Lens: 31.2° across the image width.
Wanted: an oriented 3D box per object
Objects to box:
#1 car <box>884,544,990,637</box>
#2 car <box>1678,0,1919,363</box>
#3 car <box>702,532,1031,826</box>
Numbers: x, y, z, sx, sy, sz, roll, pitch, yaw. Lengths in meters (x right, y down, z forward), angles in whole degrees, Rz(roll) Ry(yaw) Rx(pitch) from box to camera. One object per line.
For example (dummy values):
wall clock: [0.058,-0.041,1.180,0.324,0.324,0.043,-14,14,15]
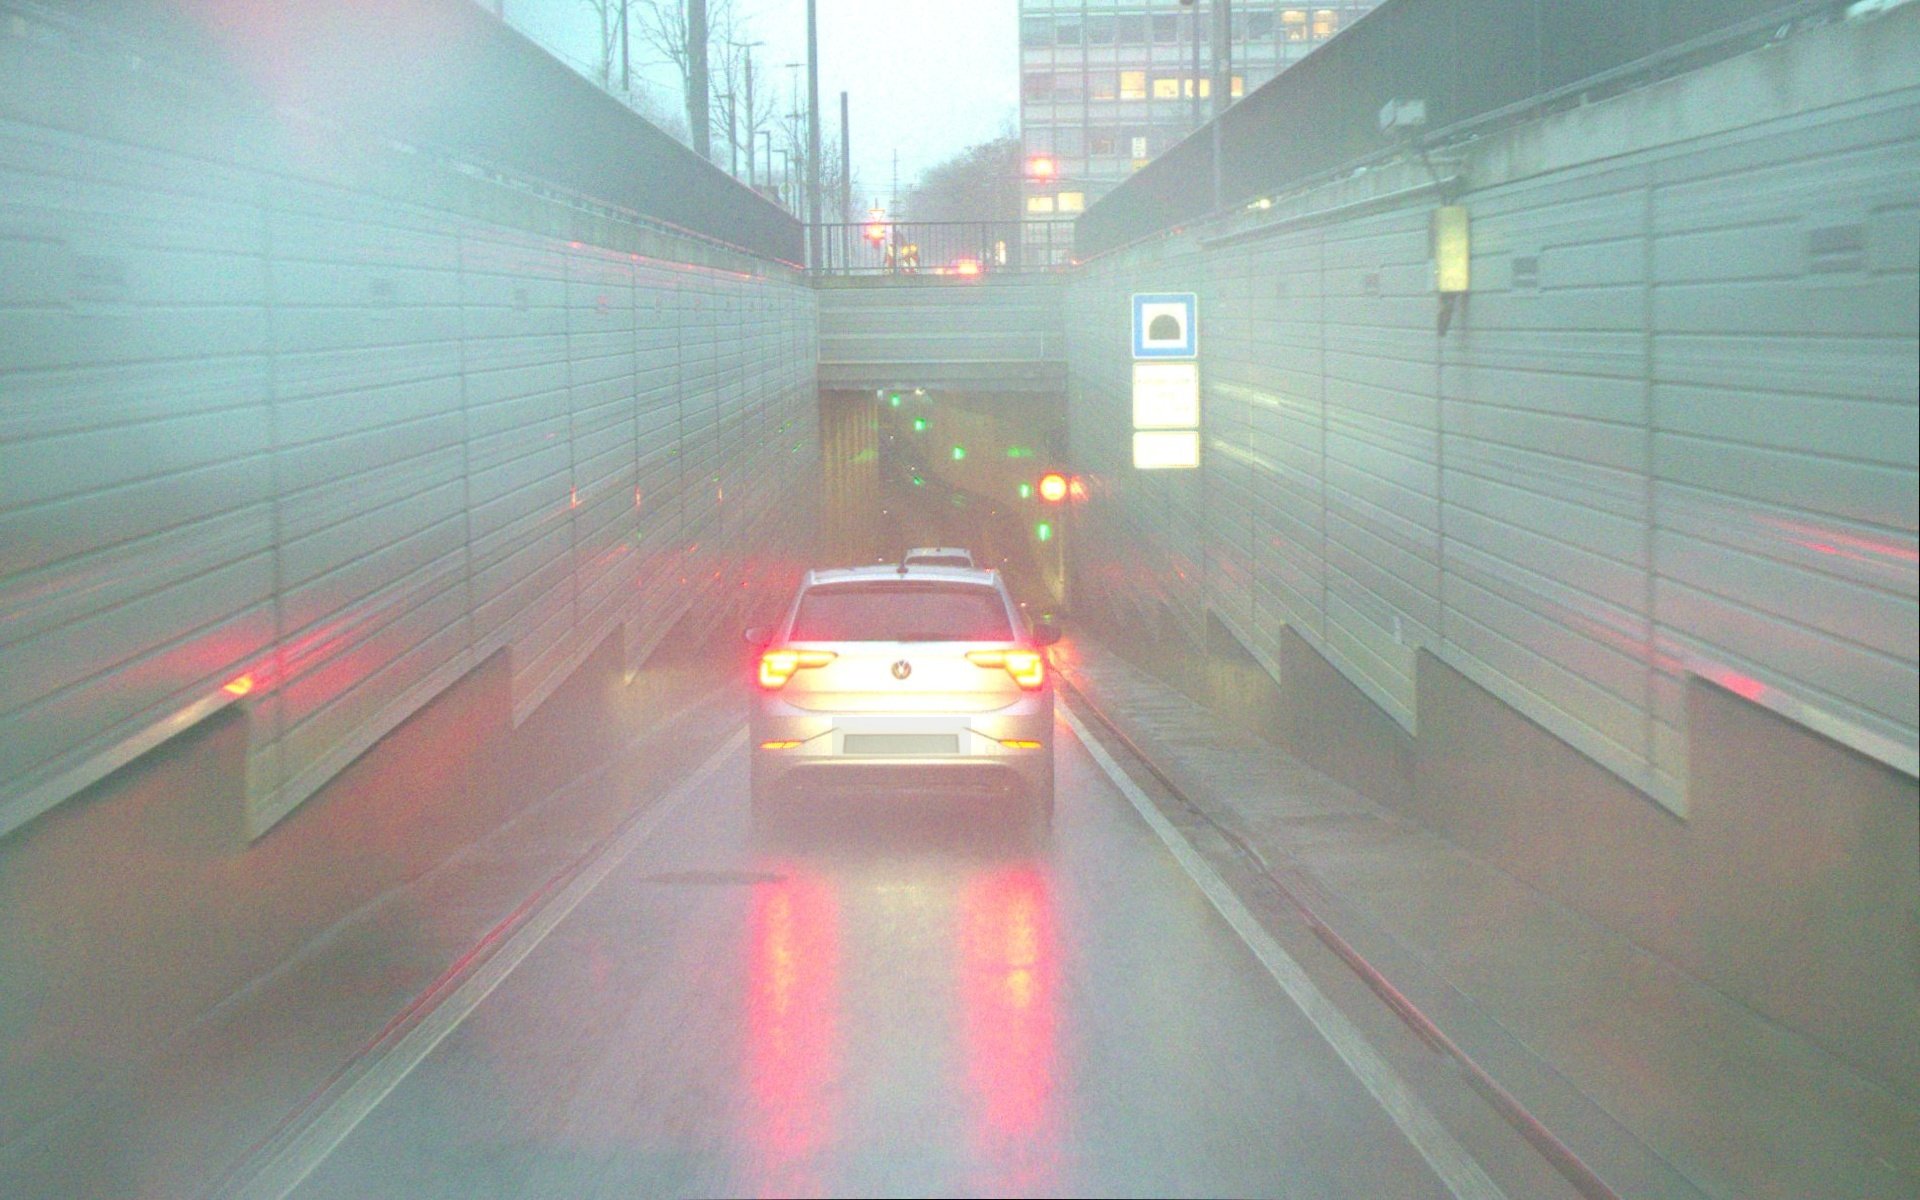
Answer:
car: [-0.476,-0.213,66.292,1.919,1.480,4.001,1,4,-2]
car: [4.339,-1.754,14.748,1.722,1.474,4.001,1,4,1]
car: [-0.463,0.384,20.419,1.722,1.474,4.000,1,2,1]
